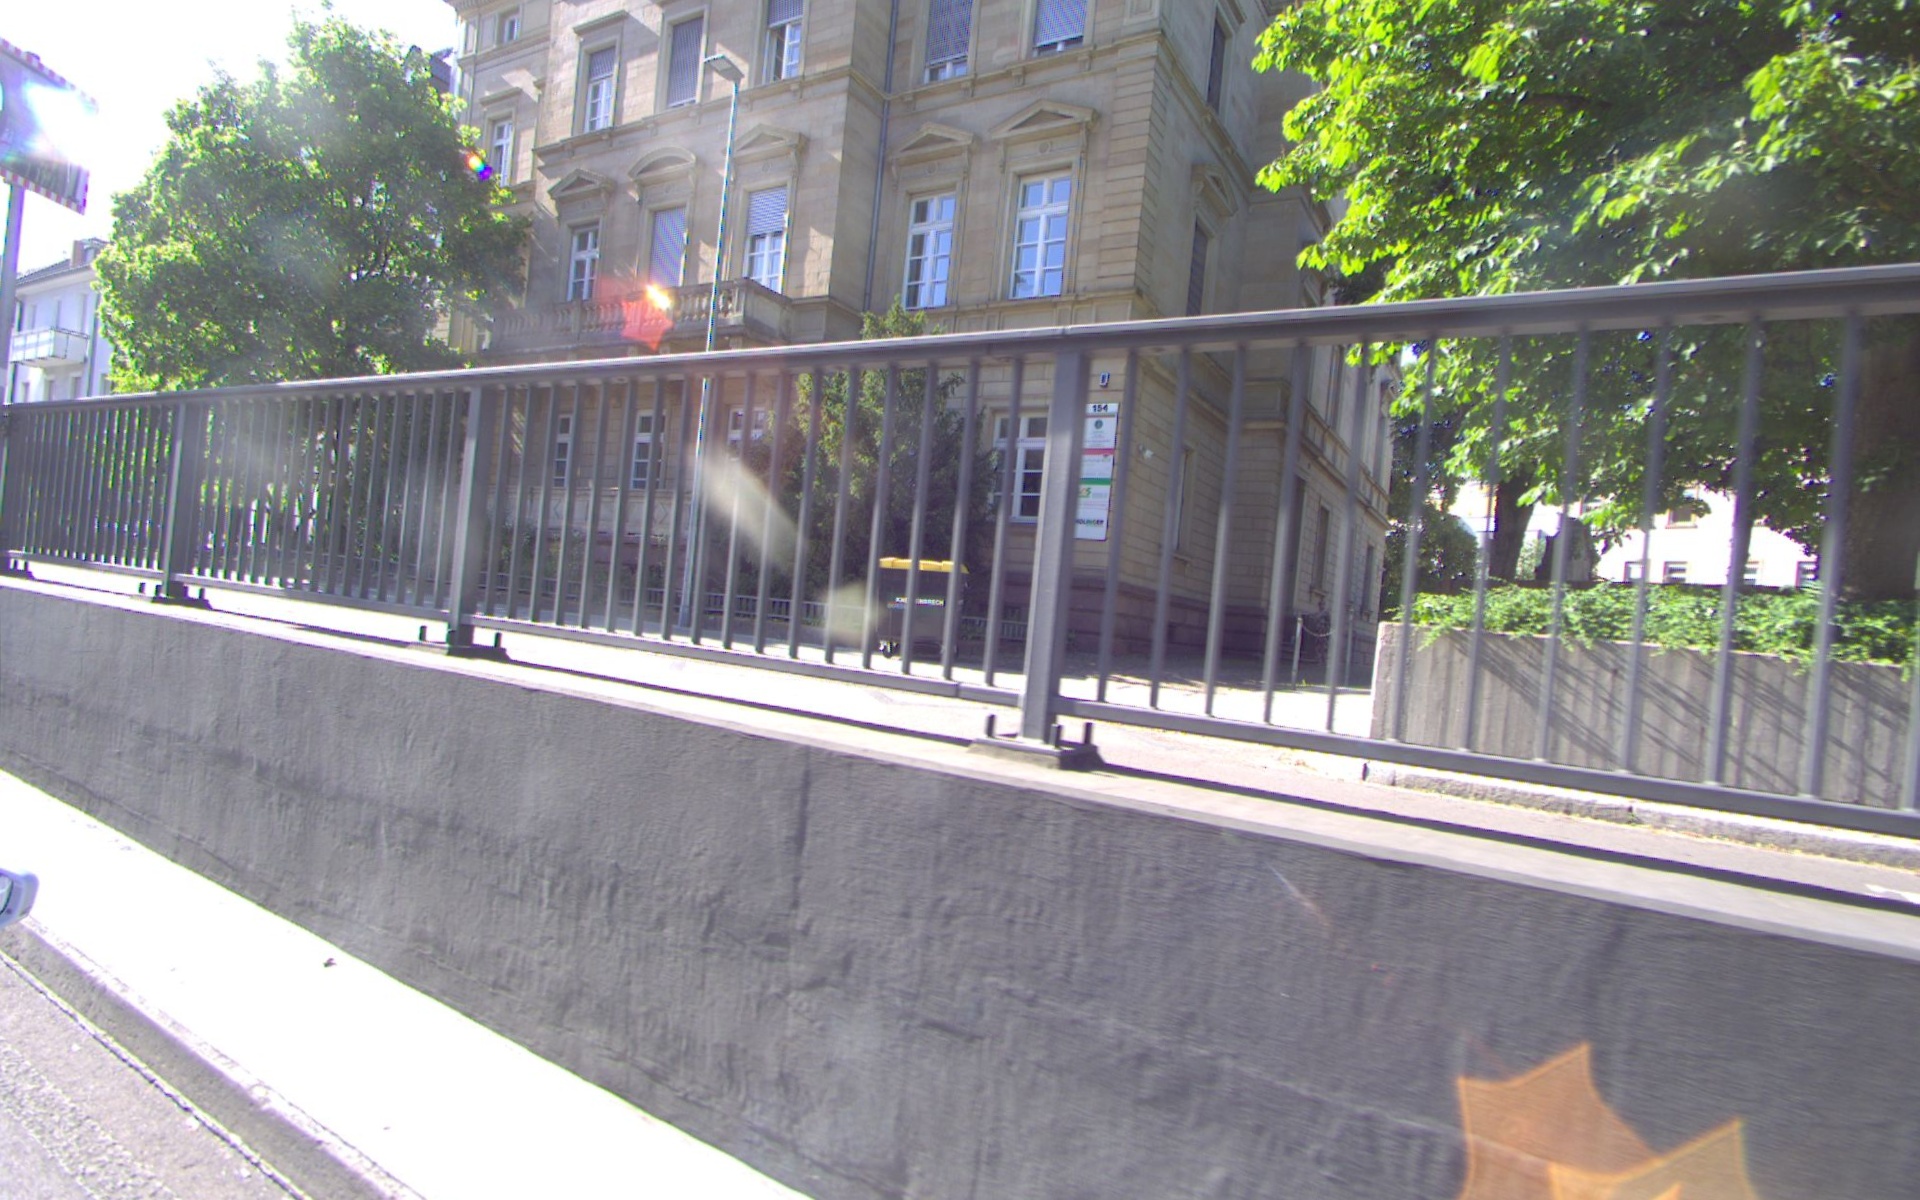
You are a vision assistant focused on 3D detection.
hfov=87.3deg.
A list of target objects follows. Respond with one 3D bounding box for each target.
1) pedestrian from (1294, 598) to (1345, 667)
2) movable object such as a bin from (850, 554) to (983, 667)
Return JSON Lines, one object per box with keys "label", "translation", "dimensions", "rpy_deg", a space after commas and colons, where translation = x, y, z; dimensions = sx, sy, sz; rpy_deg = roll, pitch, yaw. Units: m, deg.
{"label": "pedestrian", "translation": [8.468, 0.762, 23.693], "dimensions": [0.799, 1.498, 0.852], "rpy_deg": [6, -1, 34]}
{"label": "movable object such as a bin", "translation": [-0.566, 0.099, 13.883], "dimensions": [1.383, 1.344, 1.448], "rpy_deg": [6, 5, 14]}
